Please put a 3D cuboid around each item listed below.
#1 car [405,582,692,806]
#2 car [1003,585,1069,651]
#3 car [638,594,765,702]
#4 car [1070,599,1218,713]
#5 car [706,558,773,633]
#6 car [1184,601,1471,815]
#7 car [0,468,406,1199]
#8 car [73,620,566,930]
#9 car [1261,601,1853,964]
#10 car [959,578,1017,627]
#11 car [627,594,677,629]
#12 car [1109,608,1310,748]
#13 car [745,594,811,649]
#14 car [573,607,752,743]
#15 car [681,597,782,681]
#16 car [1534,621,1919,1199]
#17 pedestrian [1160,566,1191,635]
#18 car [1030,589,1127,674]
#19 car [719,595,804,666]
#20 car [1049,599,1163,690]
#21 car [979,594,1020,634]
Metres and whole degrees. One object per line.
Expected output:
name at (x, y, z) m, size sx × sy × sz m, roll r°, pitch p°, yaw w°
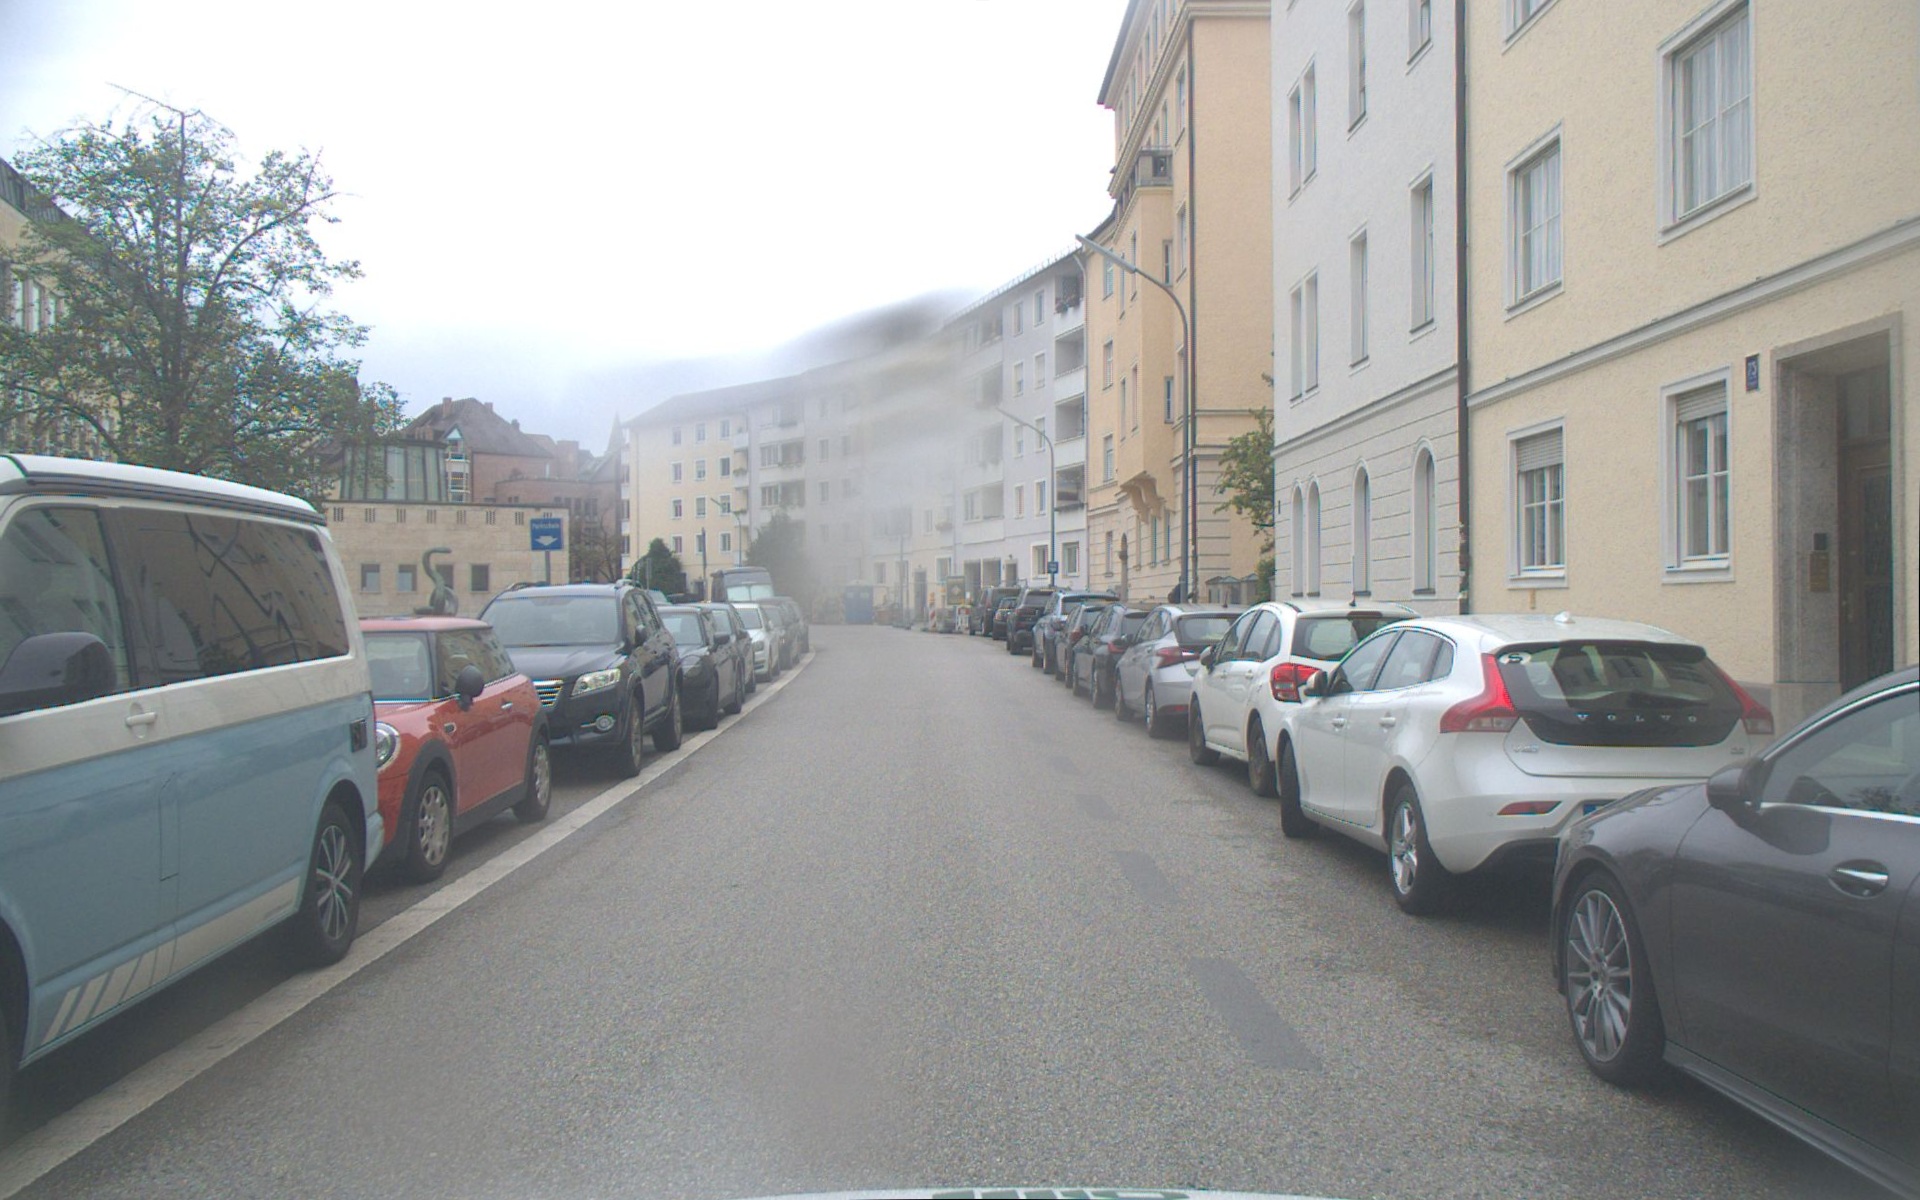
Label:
car at (-3.616, 0.730, 15.251) m, size 1.667 × 1.720 × 4.027 m, roll -2°, pitch 1°, yaw -2°
car at (1.991, 0.438, 44.253) m, size 1.444 × 1.669 × 3.999 m, roll 1°, pitch 1°, yaw -2°
car at (-4.027, 0.690, 26.255) m, size 1.591 × 1.535 × 3.978 m, roll -1°, pitch 0°, yaw -4°
car at (2.608, 0.747, 24.329) m, size 1.558 × 1.457 × 4.420 m, roll 1°, pitch 1°, yaw -2°
car at (-8.267, -0.185, 61.752) m, size 1.744 × 2.700 × 3.979 m, roll 1°, pitch 1°, yaw -19°
car at (2.976, 0.801, 14.134) m, size 1.566 × 1.517 × 3.798 m, roll 0°, pitch 1°, yaw -1°
car at (-3.388, 0.675, 5.282) m, size 1.845 × 1.965 × 4.598 m, roll -2°, pitch 1°, yaw -3°
car at (-3.647, 0.901, 10.127) m, size 1.619 × 1.397 × 3.651 m, roll -2°, pitch 1°, yaw -2°
car at (2.976, 0.786, 9.288) m, size 1.658 × 1.517 × 4.281 m, roll -1°, pitch 0°, yaw -2°
car at (1.001, 0.076, 60.935) m, size 1.573 × 1.745 × 3.082 m, roll 1°, pitch 1°, yaw -10°
car at (-15.665, 0.566, 83.936) m, size 1.581 × 1.677 × 3.111 m, roll 2°, pitch 0°, yaw -28°
car at (2.828, 0.835, 19.499) m, size 1.658 × 1.457 × 3.943 m, roll 1°, pitch 0°, yaw -2°
car at (-5.075, 0.566, 46.507) m, size 1.591 × 1.444 × 3.646 m, roll -1°, pitch 0°, yaw -3°
car at (-3.619, 0.855, 20.686) m, size 1.591 × 1.437 × 3.798 m, roll -2°, pitch 0°, yaw -2°
car at (-4.290, 0.692, 31.564) m, size 1.591 × 1.444 × 3.978 m, roll -1°, pitch 0°, yaw -4°
car at (2.920, 0.834, 3.670) m, size 1.658 × 1.517 × 4.341 m, roll -1°, pitch 0°, yaw -2°
pedestrian at (5.517, 0.020, 42.379) m, size 0.653 × 1.722 × 0.690 m, roll 2°, pitch -1°, yaw -1°
car at (2.406, 0.600, 34.462) m, size 1.558 × 1.610 × 4.297 m, roll 1°, pitch 1°, yaw -2°
car at (-4.399, 0.639, 37.092) m, size 1.591 × 1.444 × 3.979 m, roll -1°, pitch 0°, yaw -3°
car at (2.533, 0.745, 29.419) m, size 1.558 × 1.457 × 3.824 m, roll 1°, pitch 1°, yaw -2°
car at (1.328, 0.449, 55.997) m, size 1.246 × 1.321 × 2.796 m, roll 0°, pitch 0°, yaw -2°
